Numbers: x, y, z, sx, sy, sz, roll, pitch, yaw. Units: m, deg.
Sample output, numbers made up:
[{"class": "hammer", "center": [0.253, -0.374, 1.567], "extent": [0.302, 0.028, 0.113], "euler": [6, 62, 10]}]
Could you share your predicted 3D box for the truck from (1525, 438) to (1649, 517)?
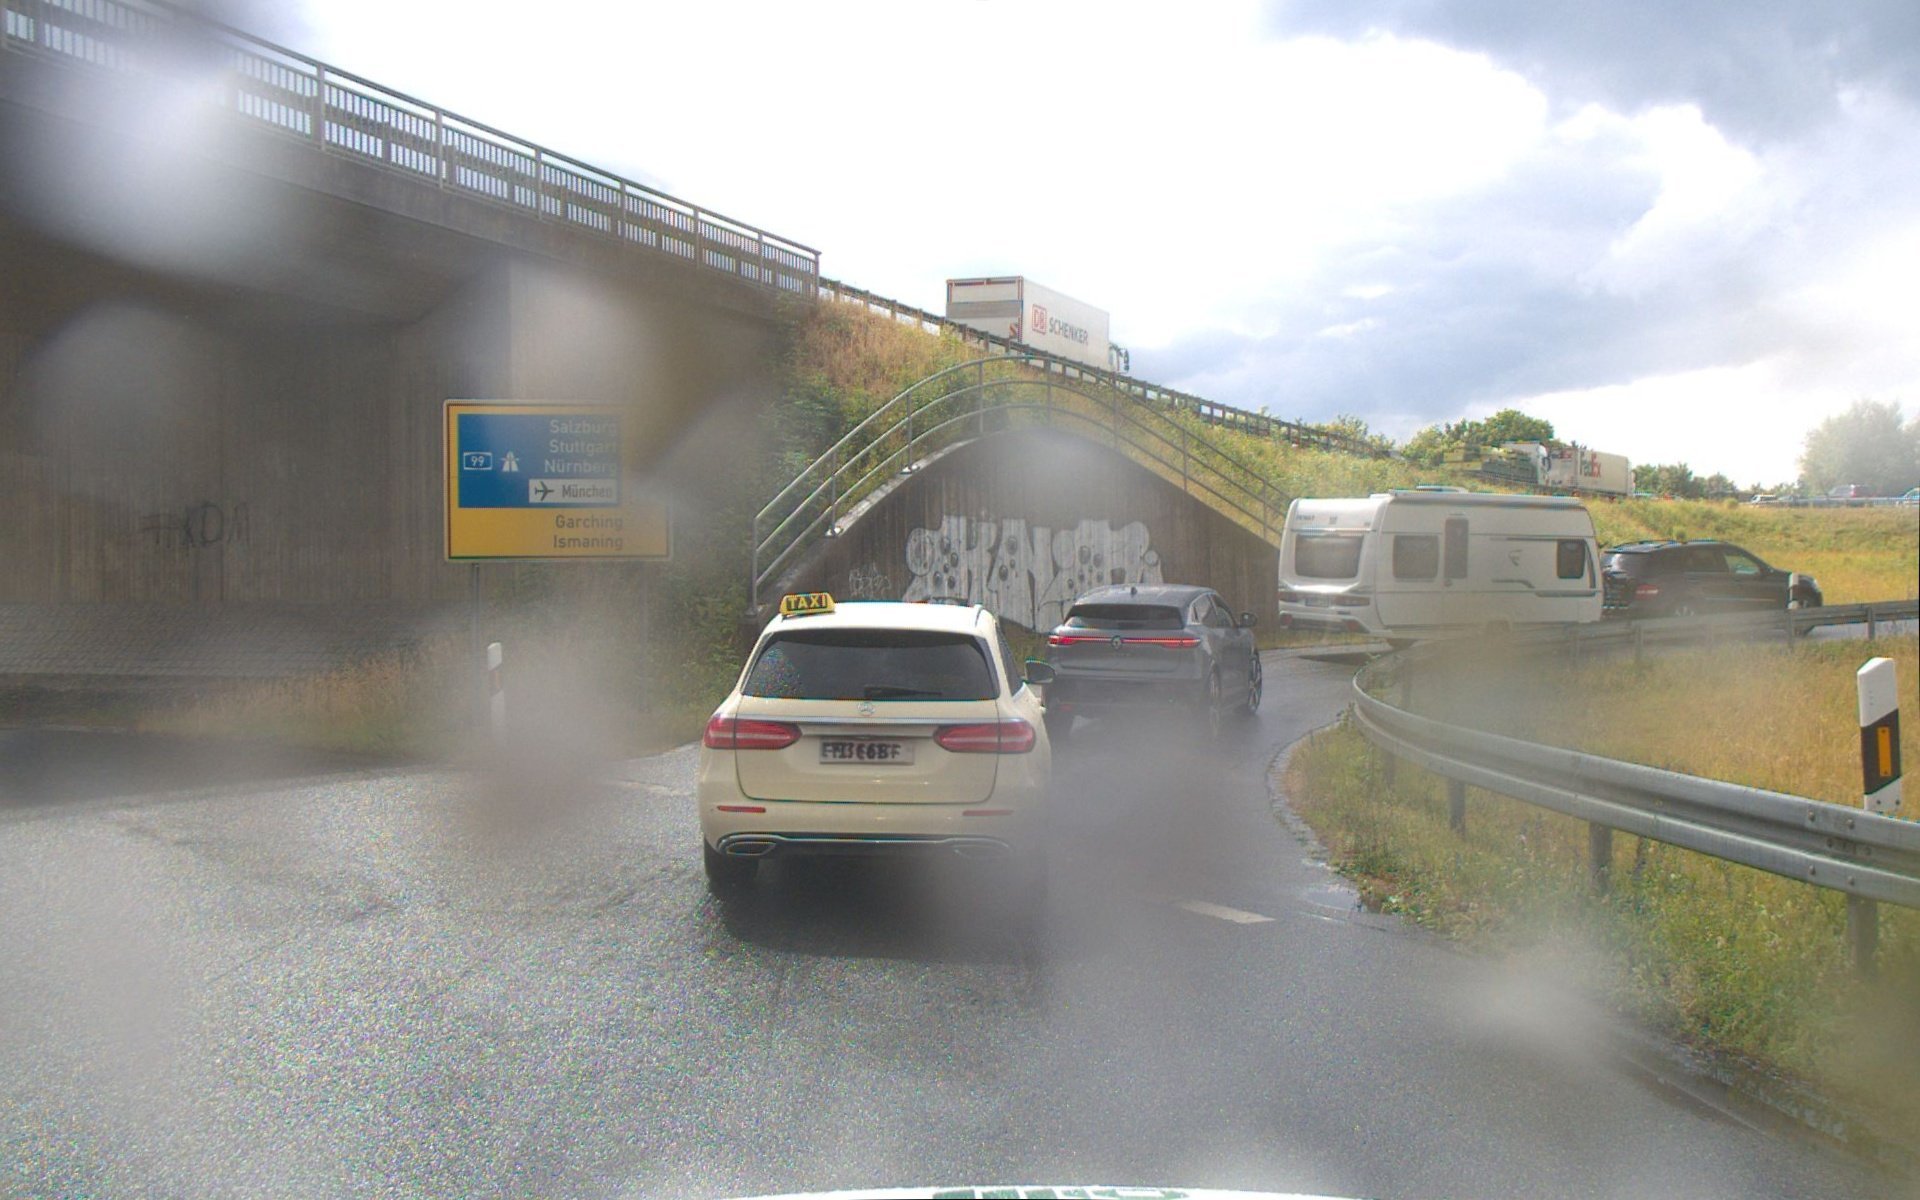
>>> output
[{"class": "truck", "center": [47.400, -8.979, 124.452], "extent": [4.383, 4.581, 19.314], "euler": [1, 0, 34]}]

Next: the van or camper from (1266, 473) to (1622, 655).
[{"class": "van or camper", "center": [8.198, -0.653, 27.863], "extent": [5.921, 2.776, 2.413], "euler": [-1, 3, -31]}]

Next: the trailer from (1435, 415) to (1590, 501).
[{"class": "trailer", "center": [36.504, -9.046, 108.352], "extent": [4.337, 4.025, 20.153], "euler": [1, 0, 34]}]

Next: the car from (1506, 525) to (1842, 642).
[{"class": "car", "center": [13.114, -0.379, 30.396], "extent": [5.661, 1.958, 2.421], "euler": [-1, 3, -22]}]

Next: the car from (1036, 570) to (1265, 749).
[{"class": "car", "center": [2.141, 0.517, 17.616], "extent": [1.682, 1.551, 4.003], "euler": [1, 3, 17]}]

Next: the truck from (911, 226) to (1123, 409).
[{"class": "truck", "center": [1.974, -8.453, 51.068], "extent": [3.117, 4.035, 9.230], "euler": [1, 0, 25]}]

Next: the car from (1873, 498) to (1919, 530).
[{"class": "car", "center": [65.583, -5.956, 114.373], "extent": [1.968, 2.049, 3.969], "euler": [-1, 0, -25]}]

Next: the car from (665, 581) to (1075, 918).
[{"class": "car", "center": [-0.343, 0.681, 9.865], "extent": [1.876, 1.534, 4.597], "euler": [0, 0, 2]}]
